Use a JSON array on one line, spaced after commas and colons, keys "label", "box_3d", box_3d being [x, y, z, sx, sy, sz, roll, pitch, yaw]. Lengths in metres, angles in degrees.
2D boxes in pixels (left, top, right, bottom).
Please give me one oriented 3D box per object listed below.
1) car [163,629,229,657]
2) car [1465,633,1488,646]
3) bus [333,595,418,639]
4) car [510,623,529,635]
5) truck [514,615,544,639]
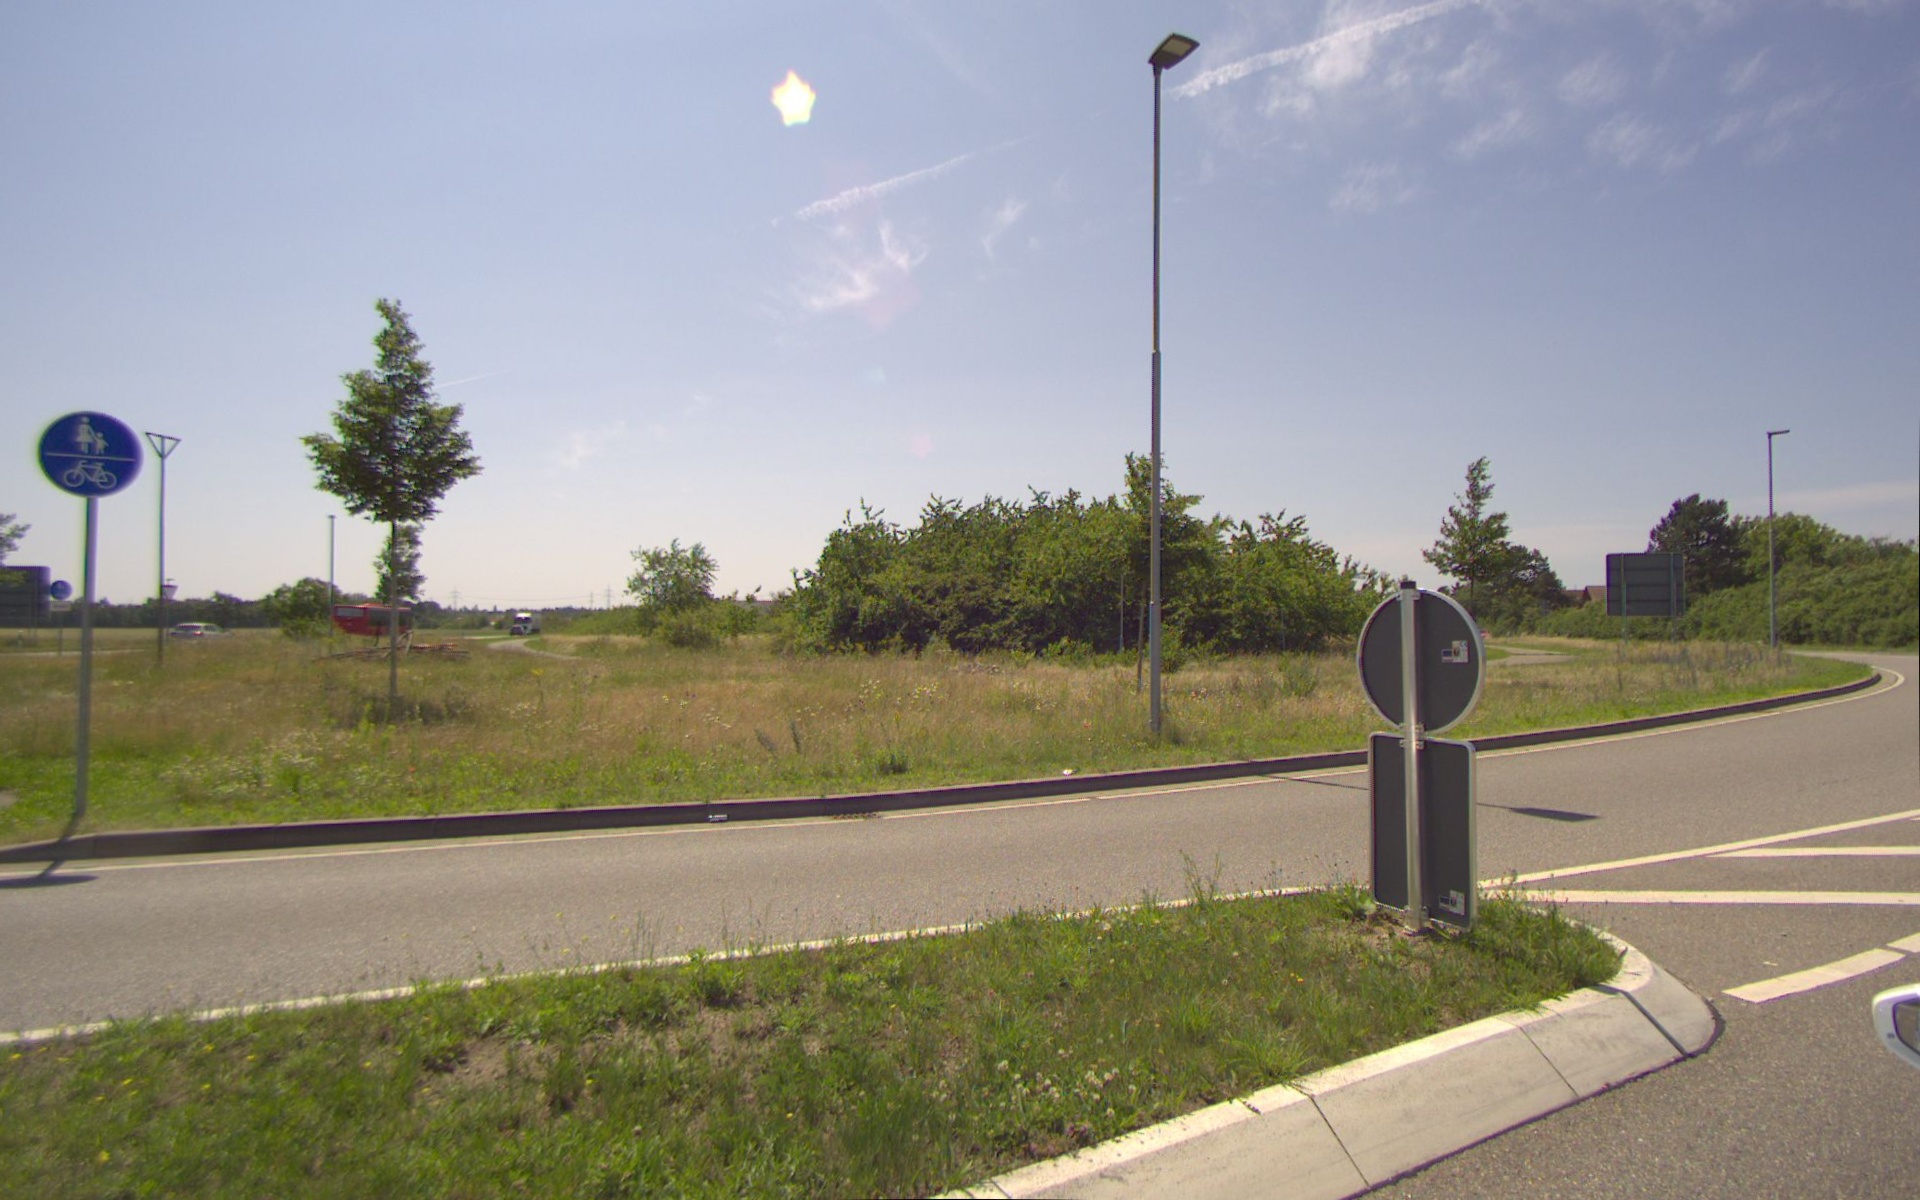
[{"label": "car", "box_3d": [-42.257, 2.378, 55.638, 1.701, 1.483, 3.589, 1, -2, -17]}, {"label": "car", "box_3d": [60.494, 4.572, 117.625, 1.627, 1.452, 3.738, -2, -2, 15]}, {"label": "bus", "box_3d": [-48.161, 1.502, 83.225, 3.260, 3.352, 11.951, 0, -2, -16]}, {"label": "car", "box_3d": [-68.606, 4.529, 156.592, 1.966, 1.951, 3.990, 0, -2, -13]}, {"label": "truck", "box_3d": [-81.091, 5.072, 189.099, 3.222, 4.394, 12.024, 0, -2, -14]}]
